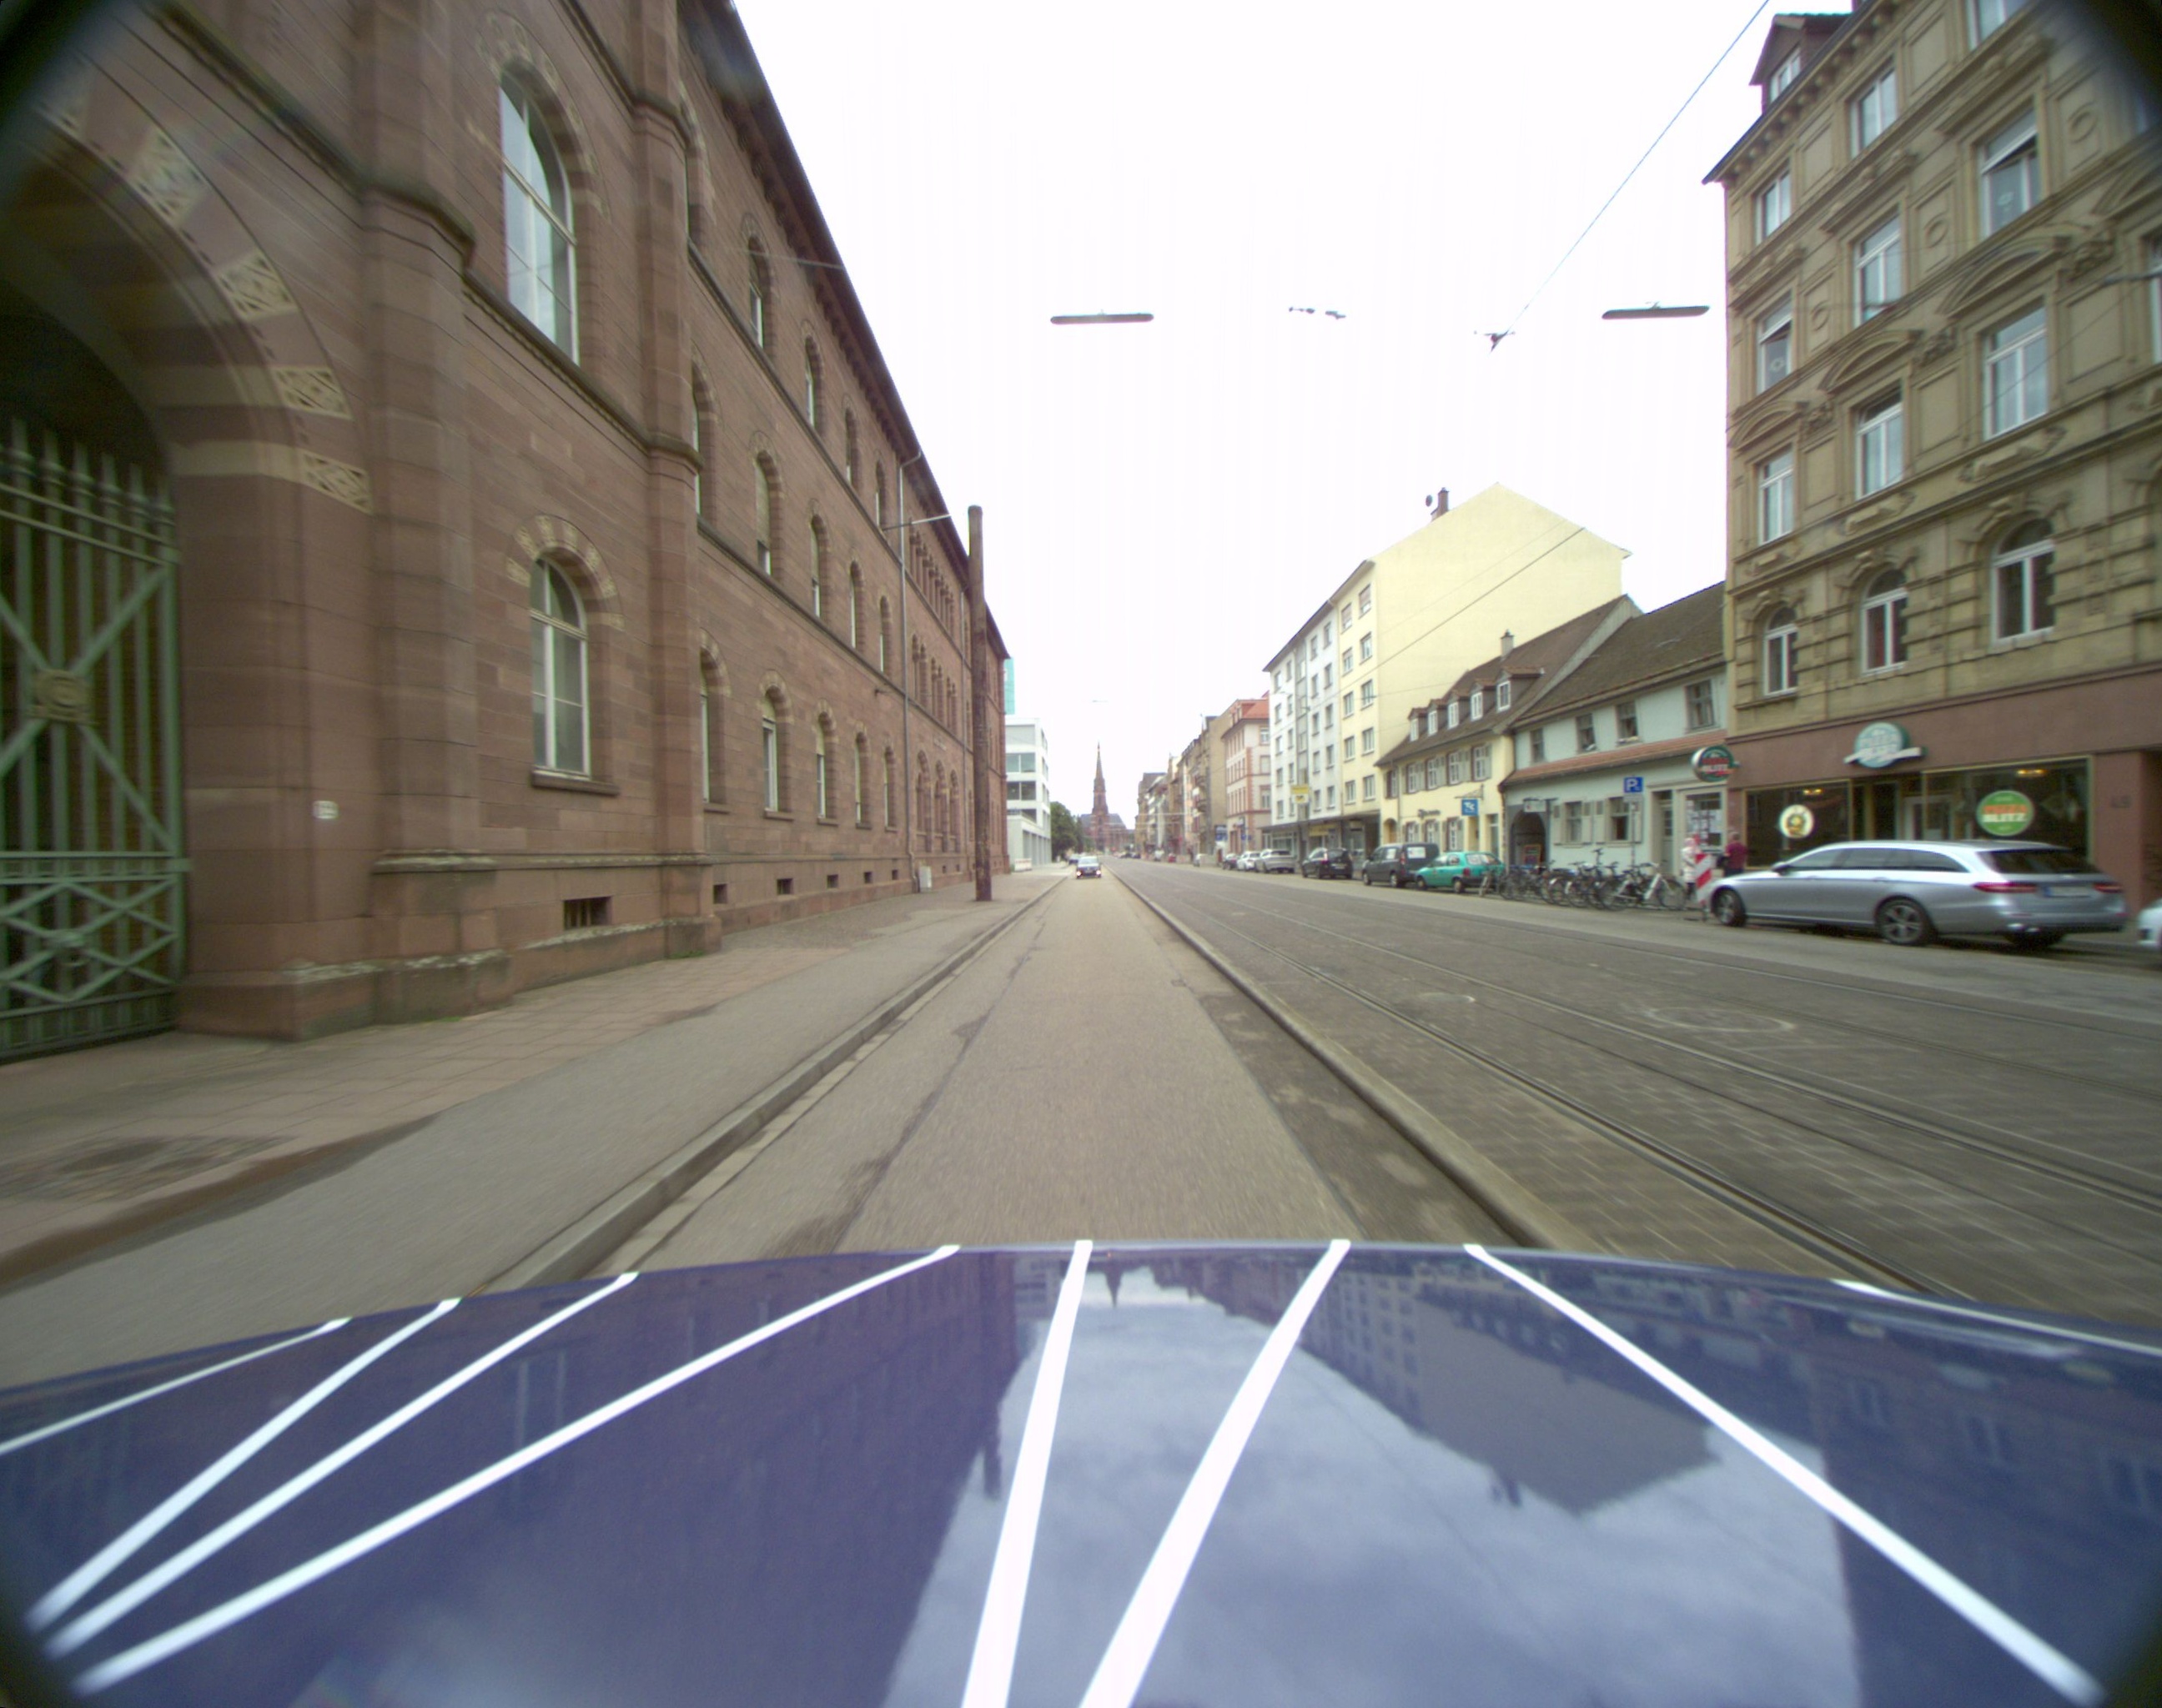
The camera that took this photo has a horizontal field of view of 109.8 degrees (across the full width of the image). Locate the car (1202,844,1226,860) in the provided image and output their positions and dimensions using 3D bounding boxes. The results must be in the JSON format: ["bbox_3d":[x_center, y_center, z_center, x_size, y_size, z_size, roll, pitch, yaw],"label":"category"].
[{"bbox_3d":[13.895,-0.236,79.620,1.867,1.553,4.000,0,1,1],"label":"car"}]

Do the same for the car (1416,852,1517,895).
[{"bbox_3d":[13.150,0.641,26.165,1.651,1.373,3.435,0,0,-2],"label":"car"}]

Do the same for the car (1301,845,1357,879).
[{"bbox_3d":[13.300,0.368,40.963,1.704,1.662,4.181,-2,1,2],"label":"car"}]

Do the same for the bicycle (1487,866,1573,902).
[{"bbox_3d":[12.925,0.846,21.888,2.126,0.928,0.557,-2,1,-1],"label":"bicycle"}]

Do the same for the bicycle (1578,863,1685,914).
[{"bbox_3d":[12.839,0.791,17.745,2.044,1.091,0.557,-2,1,2],"label":"bicycle"}]

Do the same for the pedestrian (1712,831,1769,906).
[{"bbox_3d":[15.490,0.339,17.855,0.657,1.702,0.753,-2,1,1],"label":"pedestrian"}]

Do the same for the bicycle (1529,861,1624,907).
[{"bbox_3d":[12.862,0.768,19.753,2.044,1.091,0.557,-2,1,2],"label":"bicycle"}]

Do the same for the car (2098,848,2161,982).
[{"bbox_3d":[12.650,0.670,6.776,1.748,1.456,4.046,0,0,1],"label":"car"}]

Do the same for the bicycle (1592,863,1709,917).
[{"bbox_3d":[12.730,0.804,17.014,2.139,1.091,0.557,-2,1,2],"label":"bicycle"}]

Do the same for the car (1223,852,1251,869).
[{"bbox_3d":[13.328,0.545,64.968,1.733,1.336,3.246,-2,1,1],"label":"car"}]

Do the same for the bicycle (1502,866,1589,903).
[{"bbox_3d":[12.933,0.853,21.190,2.044,0.928,0.557,-2,1,3],"label":"bicycle"}]

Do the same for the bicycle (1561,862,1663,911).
[{"bbox_3d":[12.840,0.784,18.396,2.044,1.091,0.557,-2,1,2],"label":"bicycle"}]

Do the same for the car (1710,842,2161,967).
[{"bbox_3d":[12.302,0.623,11.543,1.828,1.512,4.545,0,0,1],"label":"car"}]

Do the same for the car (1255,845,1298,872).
[{"bbox_3d":[13.362,0.285,52.041,1.928,1.722,3.826,-2,1,1],"label":"car"}]

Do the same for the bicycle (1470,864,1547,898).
[{"bbox_3d":[13.162,0.819,23.424,2.044,0.928,0.557,-2,1,-1],"label":"bicycle"}]

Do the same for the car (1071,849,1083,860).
[{"bbox_3d":[-0.645,0.025,122.348,1.835,1.652,4.000,-2,1,1],"label":"car"}]

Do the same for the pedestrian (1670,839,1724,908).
[{"bbox_3d":[14.715,0.453,18.163,0.657,1.607,0.728,-2,1,1],"label":"pedestrian"}]

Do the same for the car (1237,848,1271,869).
[{"bbox_3d":[13.373,0.325,58.806,1.733,1.443,3.826,-2,1,1],"label":"car"}]

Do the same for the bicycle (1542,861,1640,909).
[{"bbox_3d":[12.835,0.776,19.143,2.044,1.091,0.557,-2,1,2],"label":"bicycle"}]

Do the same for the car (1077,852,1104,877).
[{"bbox_3d":[0.600,0.682,52.072,1.747,1.538,3.650,-2,1,0],"label":"car"}]

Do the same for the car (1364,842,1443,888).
[{"bbox_3d":[13.048,0.407,31.014,1.706,1.747,3.920,0,1,3],"label":"car"}]
